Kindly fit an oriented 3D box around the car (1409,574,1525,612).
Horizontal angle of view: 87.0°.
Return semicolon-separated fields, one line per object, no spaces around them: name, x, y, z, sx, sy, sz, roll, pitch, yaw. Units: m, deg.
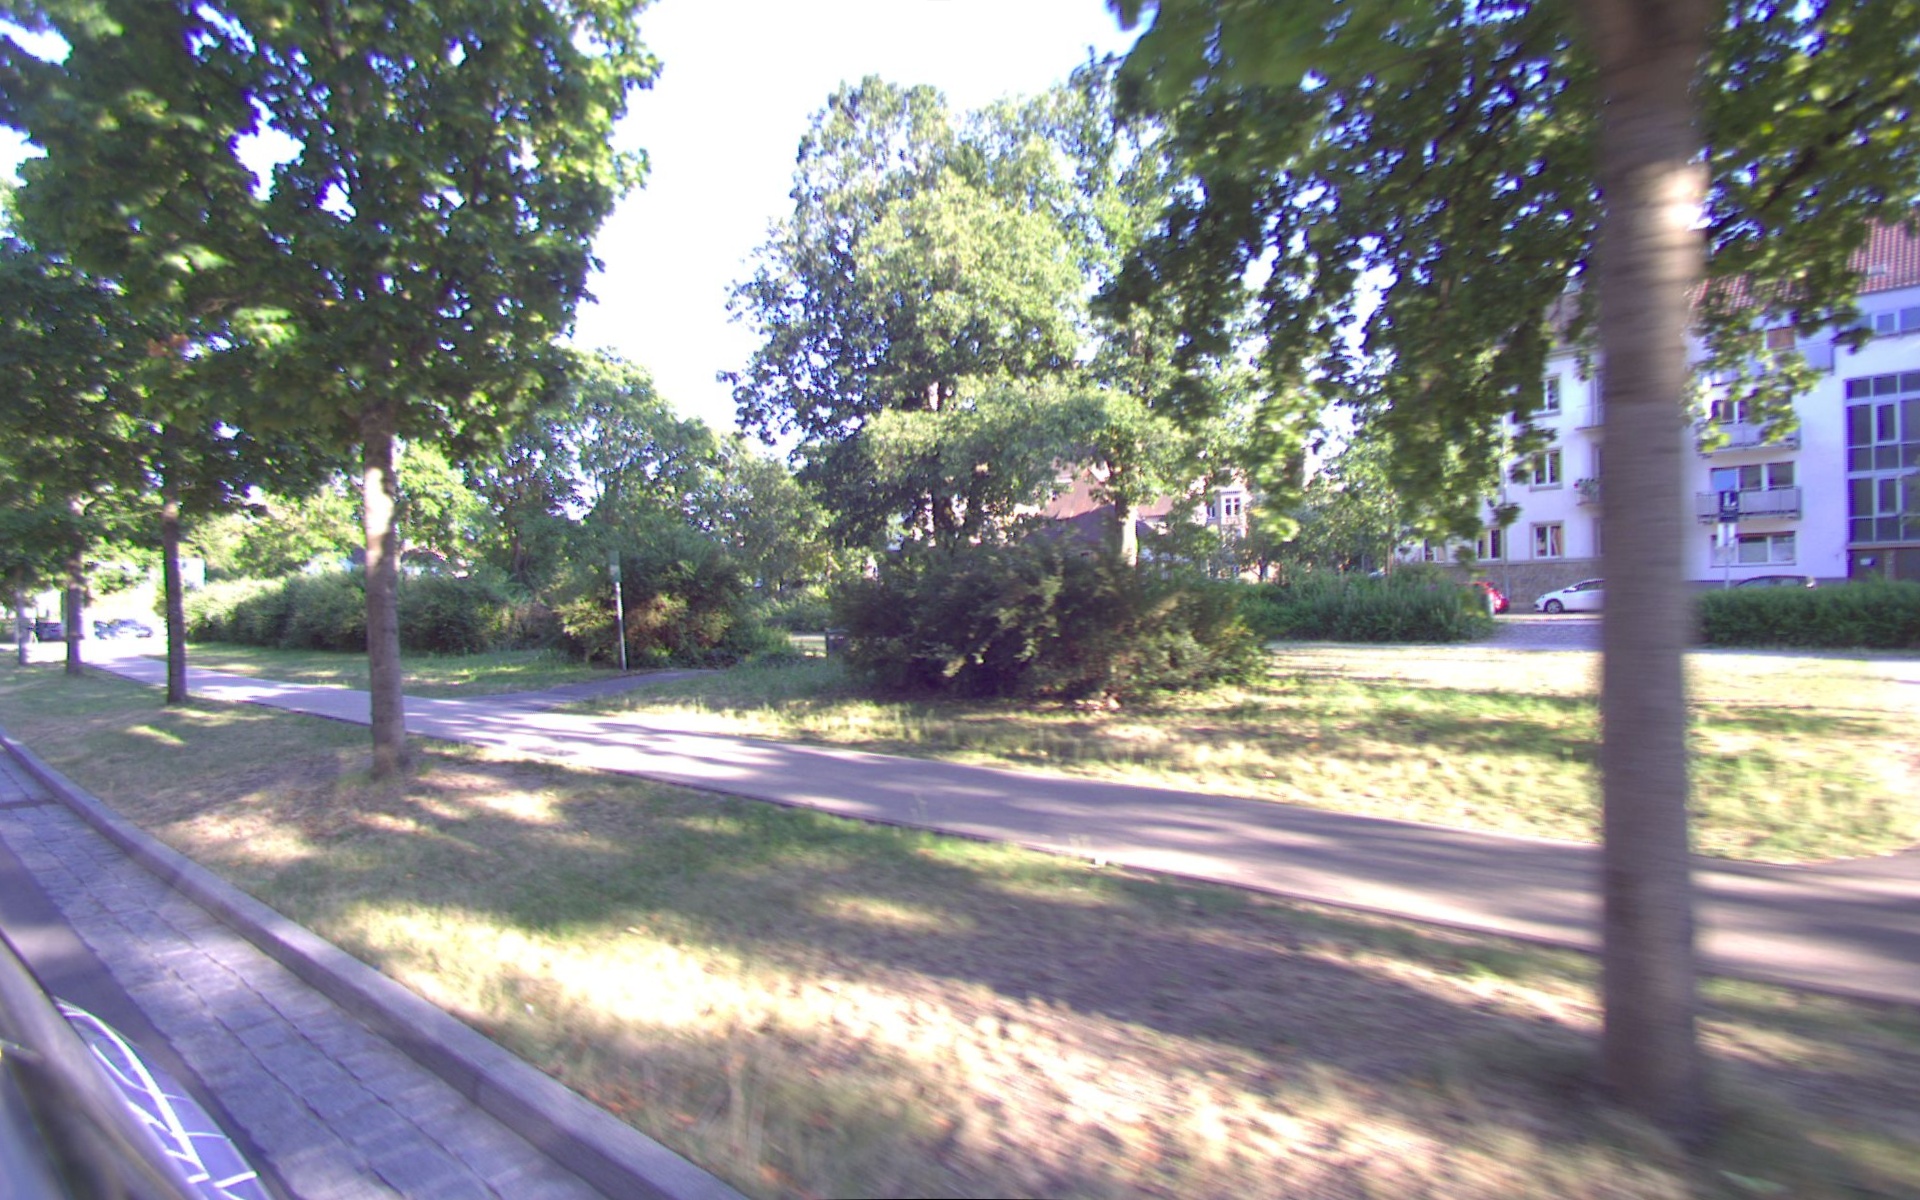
car;22.720;-0.296;45.425;1.908;1.593;4.222;-2;0;-42

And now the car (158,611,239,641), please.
car;-53.588;1.815;71.274;1.754;1.931;4.199;-2;0;27

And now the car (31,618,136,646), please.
car;-56.450;2.040;65.297;1.859;1.570;4.793;-2;0;27

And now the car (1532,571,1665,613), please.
car;26.078;-0.297;41.435;1.908;1.593;4.222;-2;0;-42
